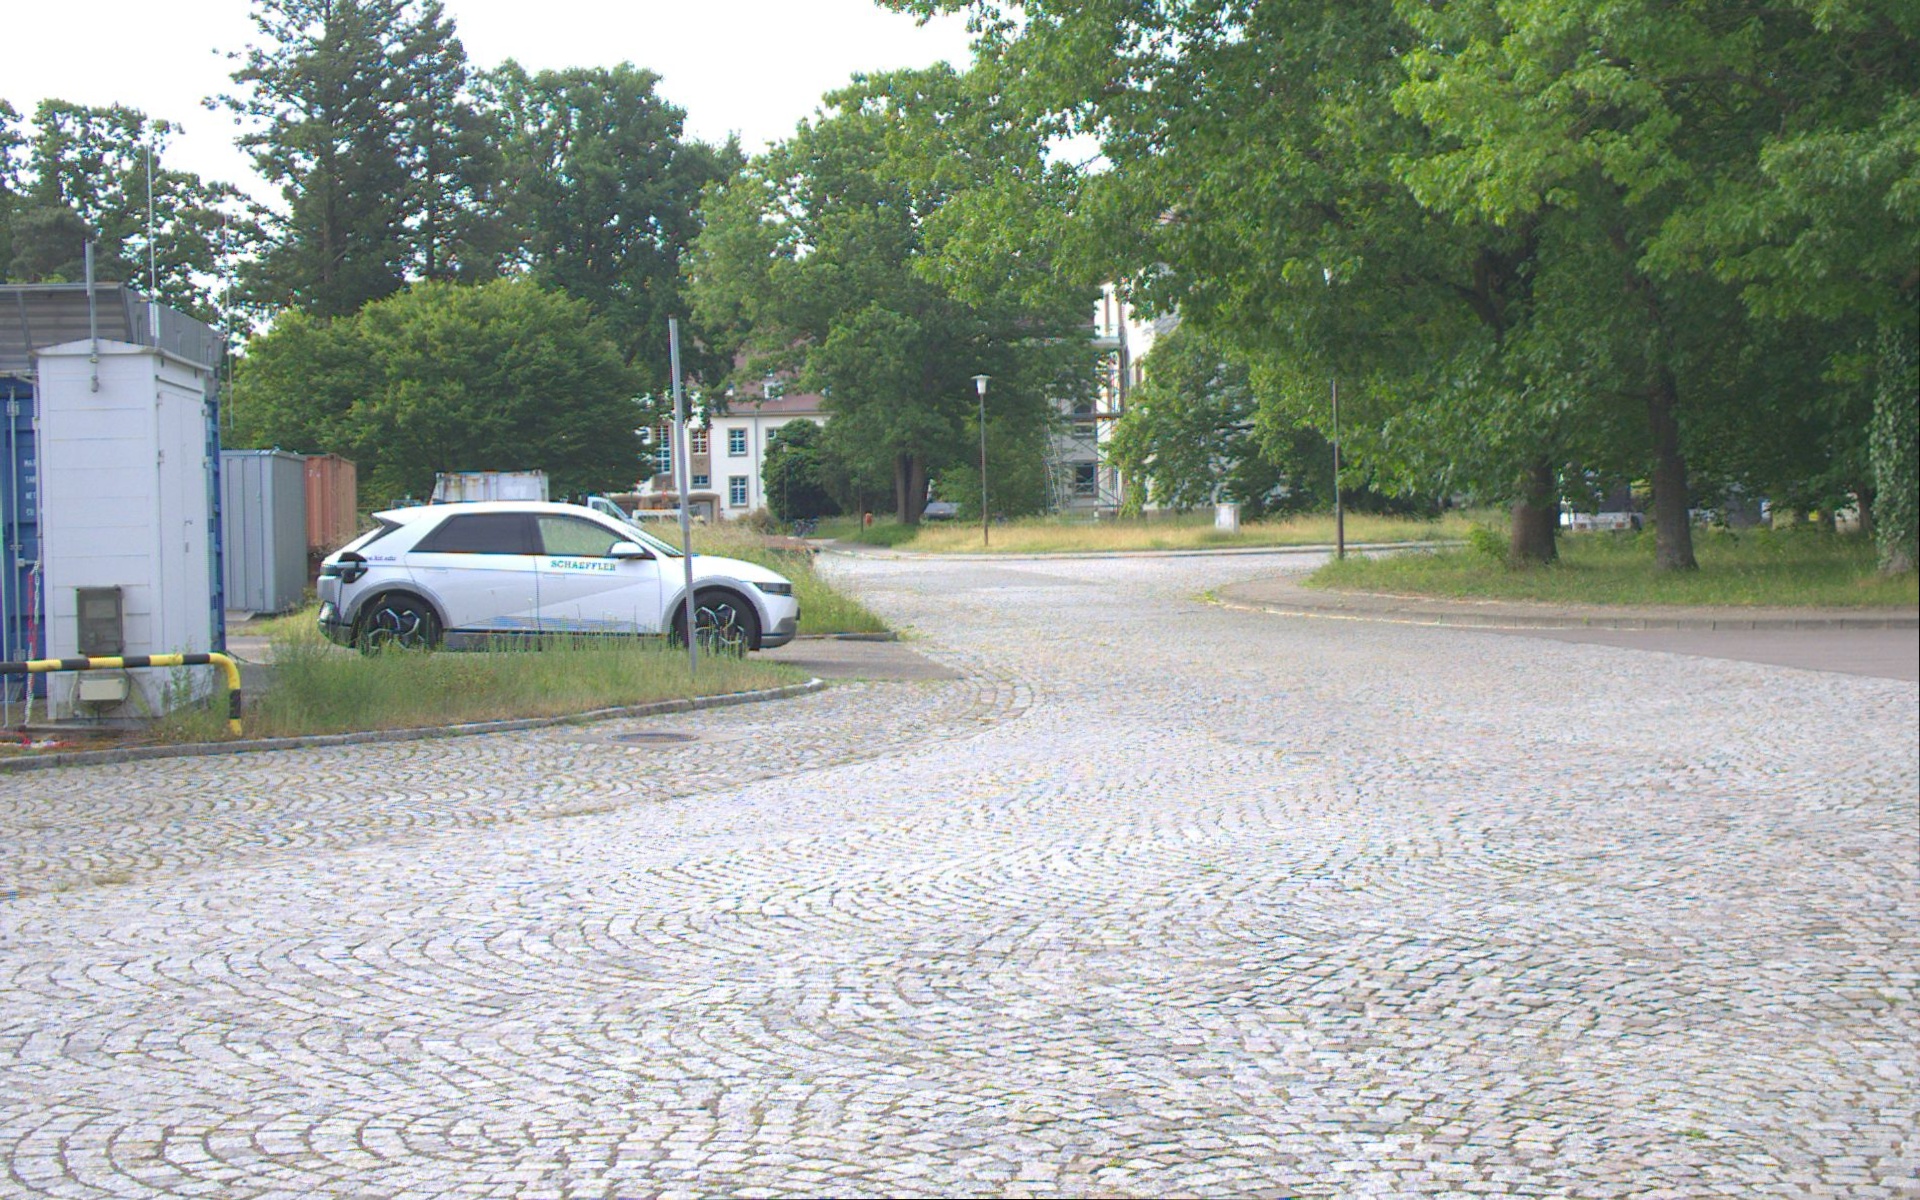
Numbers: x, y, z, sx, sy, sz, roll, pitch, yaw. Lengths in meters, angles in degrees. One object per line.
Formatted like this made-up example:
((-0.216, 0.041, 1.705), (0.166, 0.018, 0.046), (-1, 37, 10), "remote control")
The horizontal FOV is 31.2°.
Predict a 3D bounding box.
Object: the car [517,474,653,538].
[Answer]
((-14.640, -3.661, 134.294), (5.169, 2.329, 2.001), (-2, 1, -6), "car")

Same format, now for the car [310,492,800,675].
((-3.854, -0.188, 33.302), (4.533, 1.594, 2.000), (-2, 2, -3), "car")

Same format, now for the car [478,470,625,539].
((-14.795, -3.459, 124.669), (5.169, 2.329, 2.001), (-2, 1, -6), "car")
